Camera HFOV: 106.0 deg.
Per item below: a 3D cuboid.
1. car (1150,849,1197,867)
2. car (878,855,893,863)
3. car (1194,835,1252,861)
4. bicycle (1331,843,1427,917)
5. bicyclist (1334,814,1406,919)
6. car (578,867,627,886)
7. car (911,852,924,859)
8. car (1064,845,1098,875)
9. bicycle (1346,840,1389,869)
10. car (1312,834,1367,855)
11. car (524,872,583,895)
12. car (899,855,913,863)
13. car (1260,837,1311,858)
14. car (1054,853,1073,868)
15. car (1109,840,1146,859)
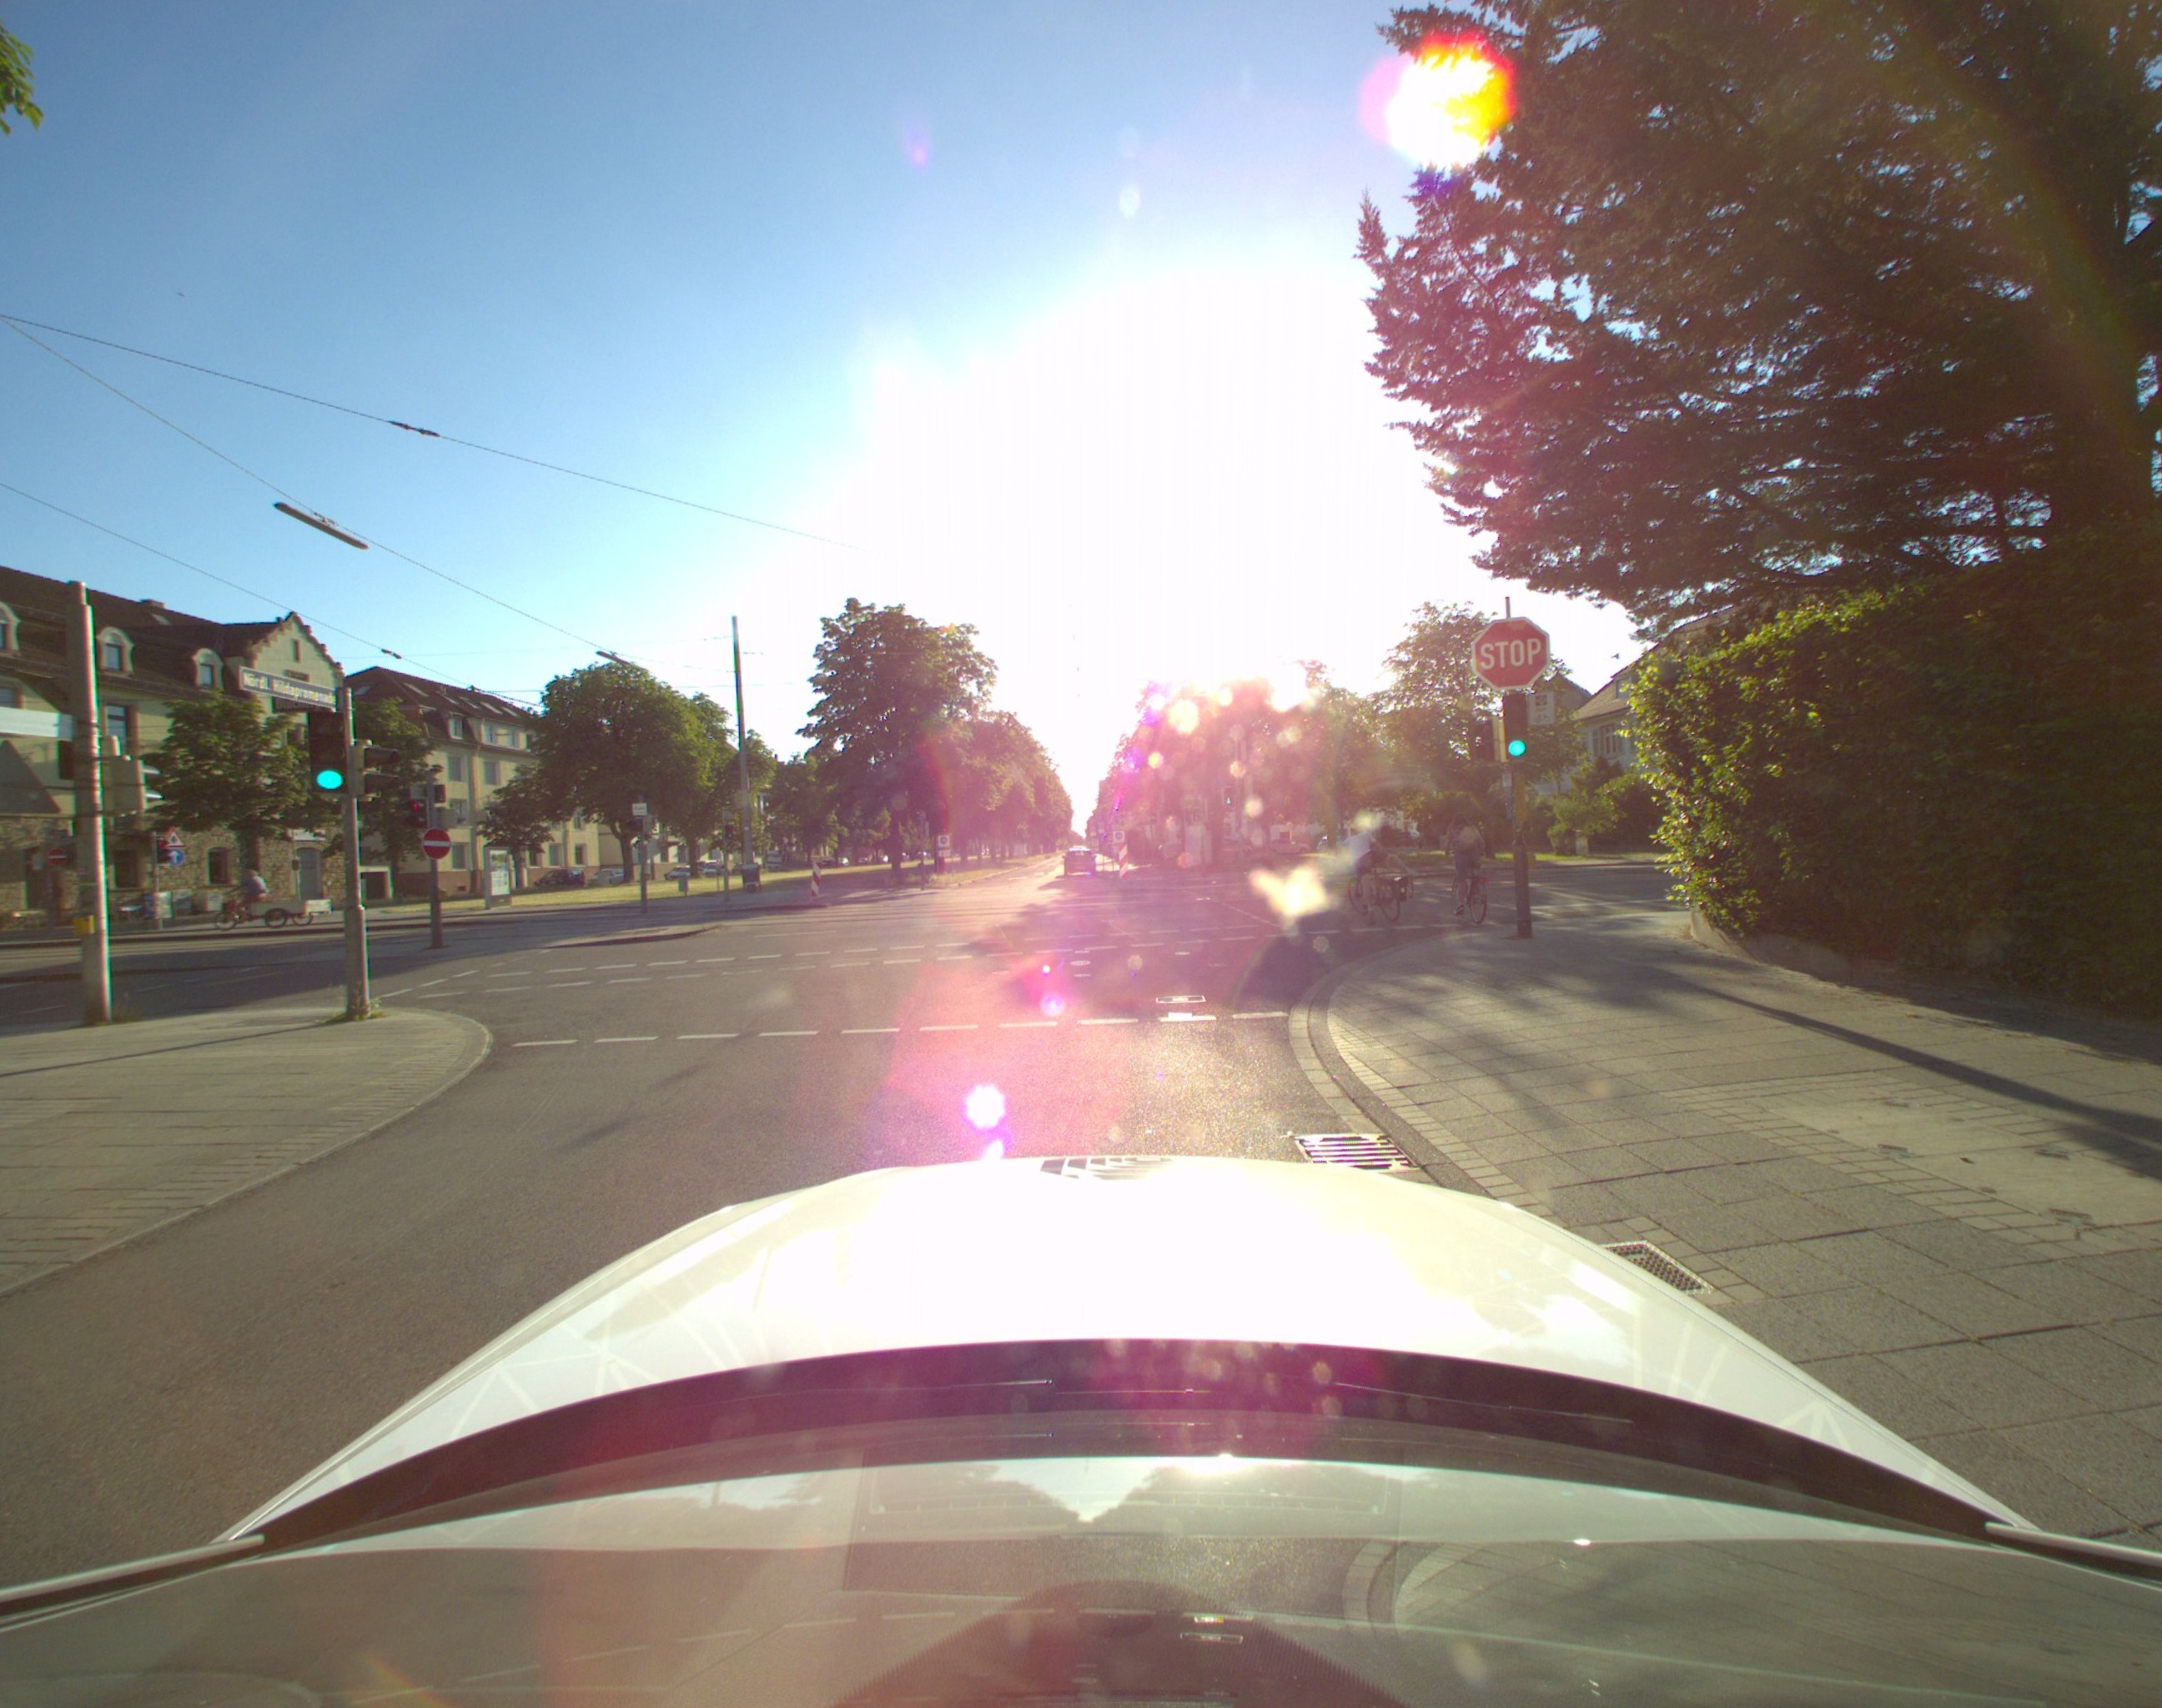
[{"bbox_3d":[8.243,0.401,72.783,3.975,1.447,1.715,-2,-1,-1],"label":"car"},{"bbox_3d":[-41.714,1.078,174.013,1.986,1.659,4.357,0,-1,2],"label":"car"},{"bbox_3d":[11.361,-0.504,65.472,4.228,1.875,2.030,-2,-1,-1],"label":"car"},{"bbox_3d":[5.108,0.417,14.105,0.573,1.184,1.895,0,0,-15],"label":"bicycle"},{"bbox_3d":[4.976,0.210,14.057,0.815,1.732,0.890,0,-1,-13],"label":"bicyclist"},{"bbox_3d":[-43.067,1.995,73.441,1.986,1.659,4.001,0,-1,2],"label":"car"},{"bbox_3d":[-37.867,0.331,188.232,1.987,1.658,4.570,-2,0,0],"label":"car"},{"bbox_3d":[0.031,0.335,44.675,1.719,1.511,4.542,0,-1,2],"label":"car"},{"bbox_3d":[11.481,0.007,32.669,1.513,1.089,0.468,-2,0,9],"label":"bicycle"},{"bbox_3d":[20.787,-0.783,65.632,3.915,1.524,1.521,-1,-1,-5],"label":"car"},{"bbox_3d":[-43.462,2.401,67.243,1.986,1.736,4.313,0,-1,2],"label":"car"},{"bbox_3d":[-36.267,0.956,168.682,2.016,1.659,3.984,0,-1,1],"label":"car"},{"bbox_3d":[16.305,-0.545,65.054,3.548,1.516,1.602,-2,0,-6],"label":"car"},{"bbox_3d":[-1.667,0.607,78.481,1.704,1.359,4.202,0,-1,0],"label":"car"},{"bbox_3d":[5.320,-0.542,93.549,3.980,1.822,1.757,-3,-5,-5],"label":"car"}]
